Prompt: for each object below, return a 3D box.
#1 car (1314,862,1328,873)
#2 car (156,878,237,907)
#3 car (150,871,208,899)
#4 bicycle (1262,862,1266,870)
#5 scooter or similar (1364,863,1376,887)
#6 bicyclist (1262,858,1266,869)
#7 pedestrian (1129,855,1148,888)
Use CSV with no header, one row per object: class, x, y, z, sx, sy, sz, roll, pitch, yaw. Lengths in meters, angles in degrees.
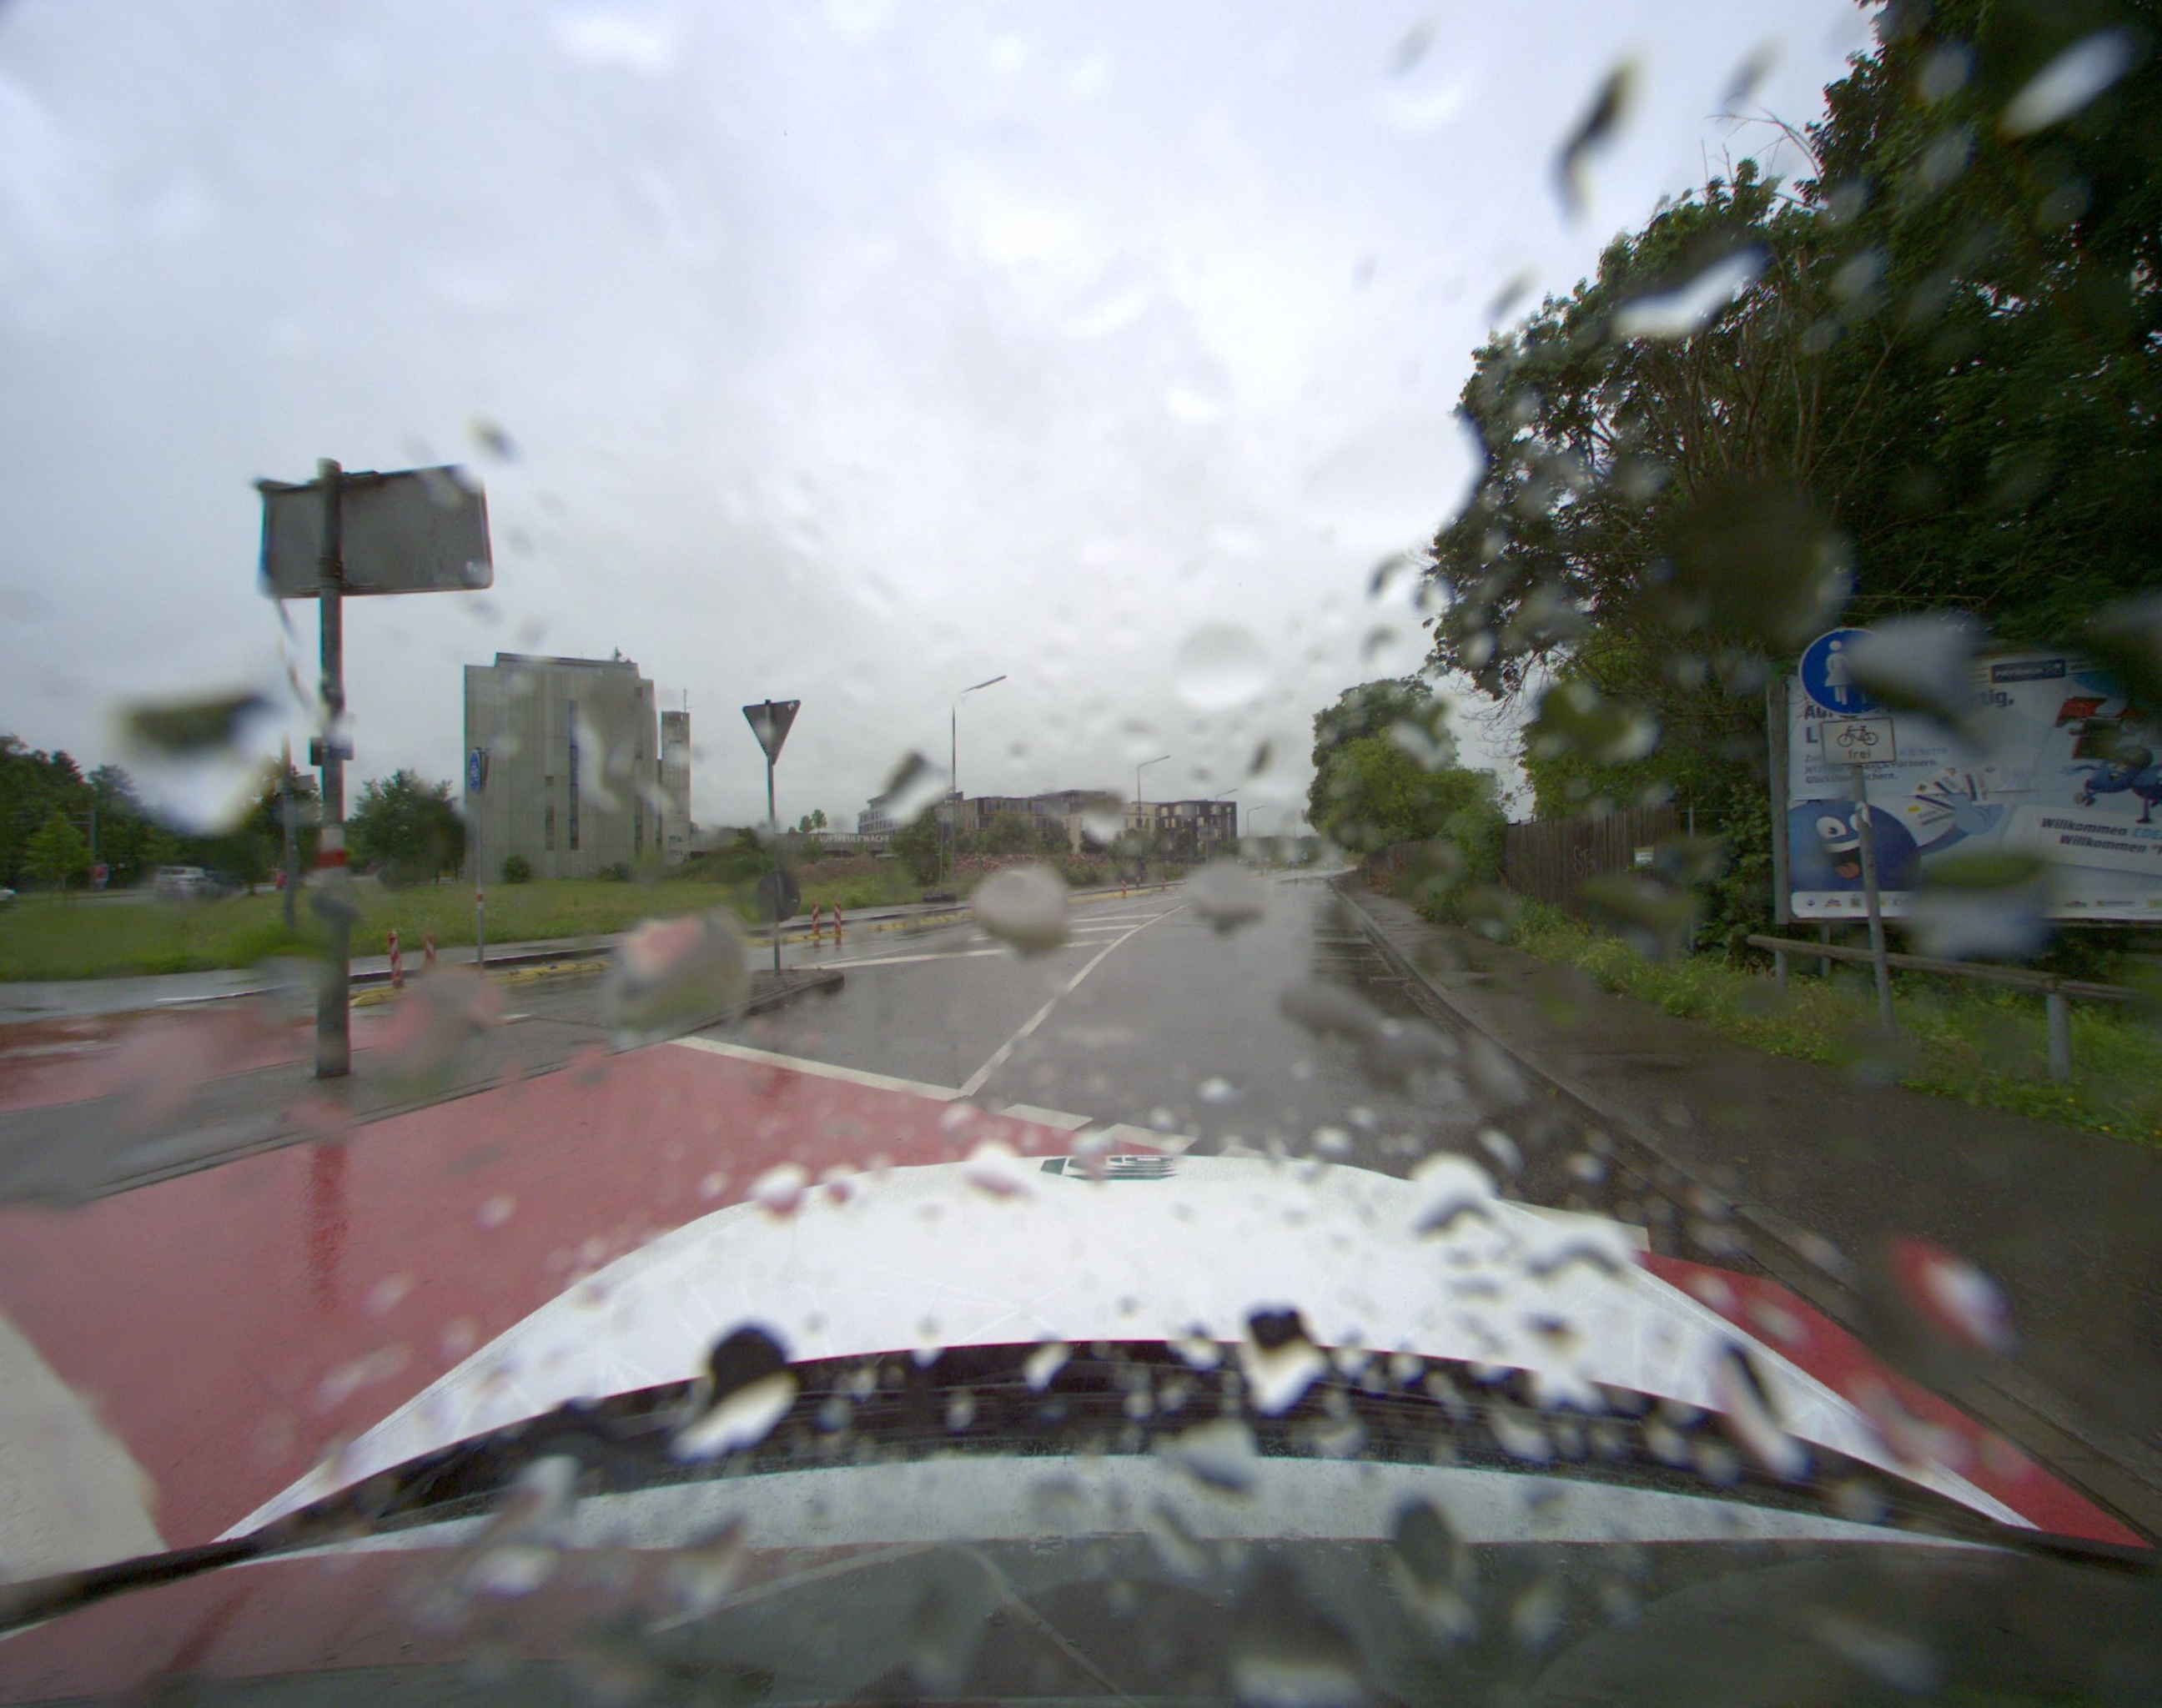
car,39.404,2.156,133.652,1.977,1.772,4.019,-1,-1,19
car,-61.453,2.643,56.695,1.789,1.811,4.805,0,-1,-20
car,-68.187,2.407,61.658,1.795,2.036,3.959,2,-4,-31
bicycle,22.504,1.483,100.204,0.424,1.019,1.618,-1,-1,15
scooter or similar,14.910,1.076,42.033,0.487,1.235,1.376,-1,-1,17
bicyclist,22.528,1.157,100.271,0.440,1.404,0.552,-1,-3,16
pedestrian,3.631,1.131,51.081,0.838,2.014,1.138,-2,-4,23
